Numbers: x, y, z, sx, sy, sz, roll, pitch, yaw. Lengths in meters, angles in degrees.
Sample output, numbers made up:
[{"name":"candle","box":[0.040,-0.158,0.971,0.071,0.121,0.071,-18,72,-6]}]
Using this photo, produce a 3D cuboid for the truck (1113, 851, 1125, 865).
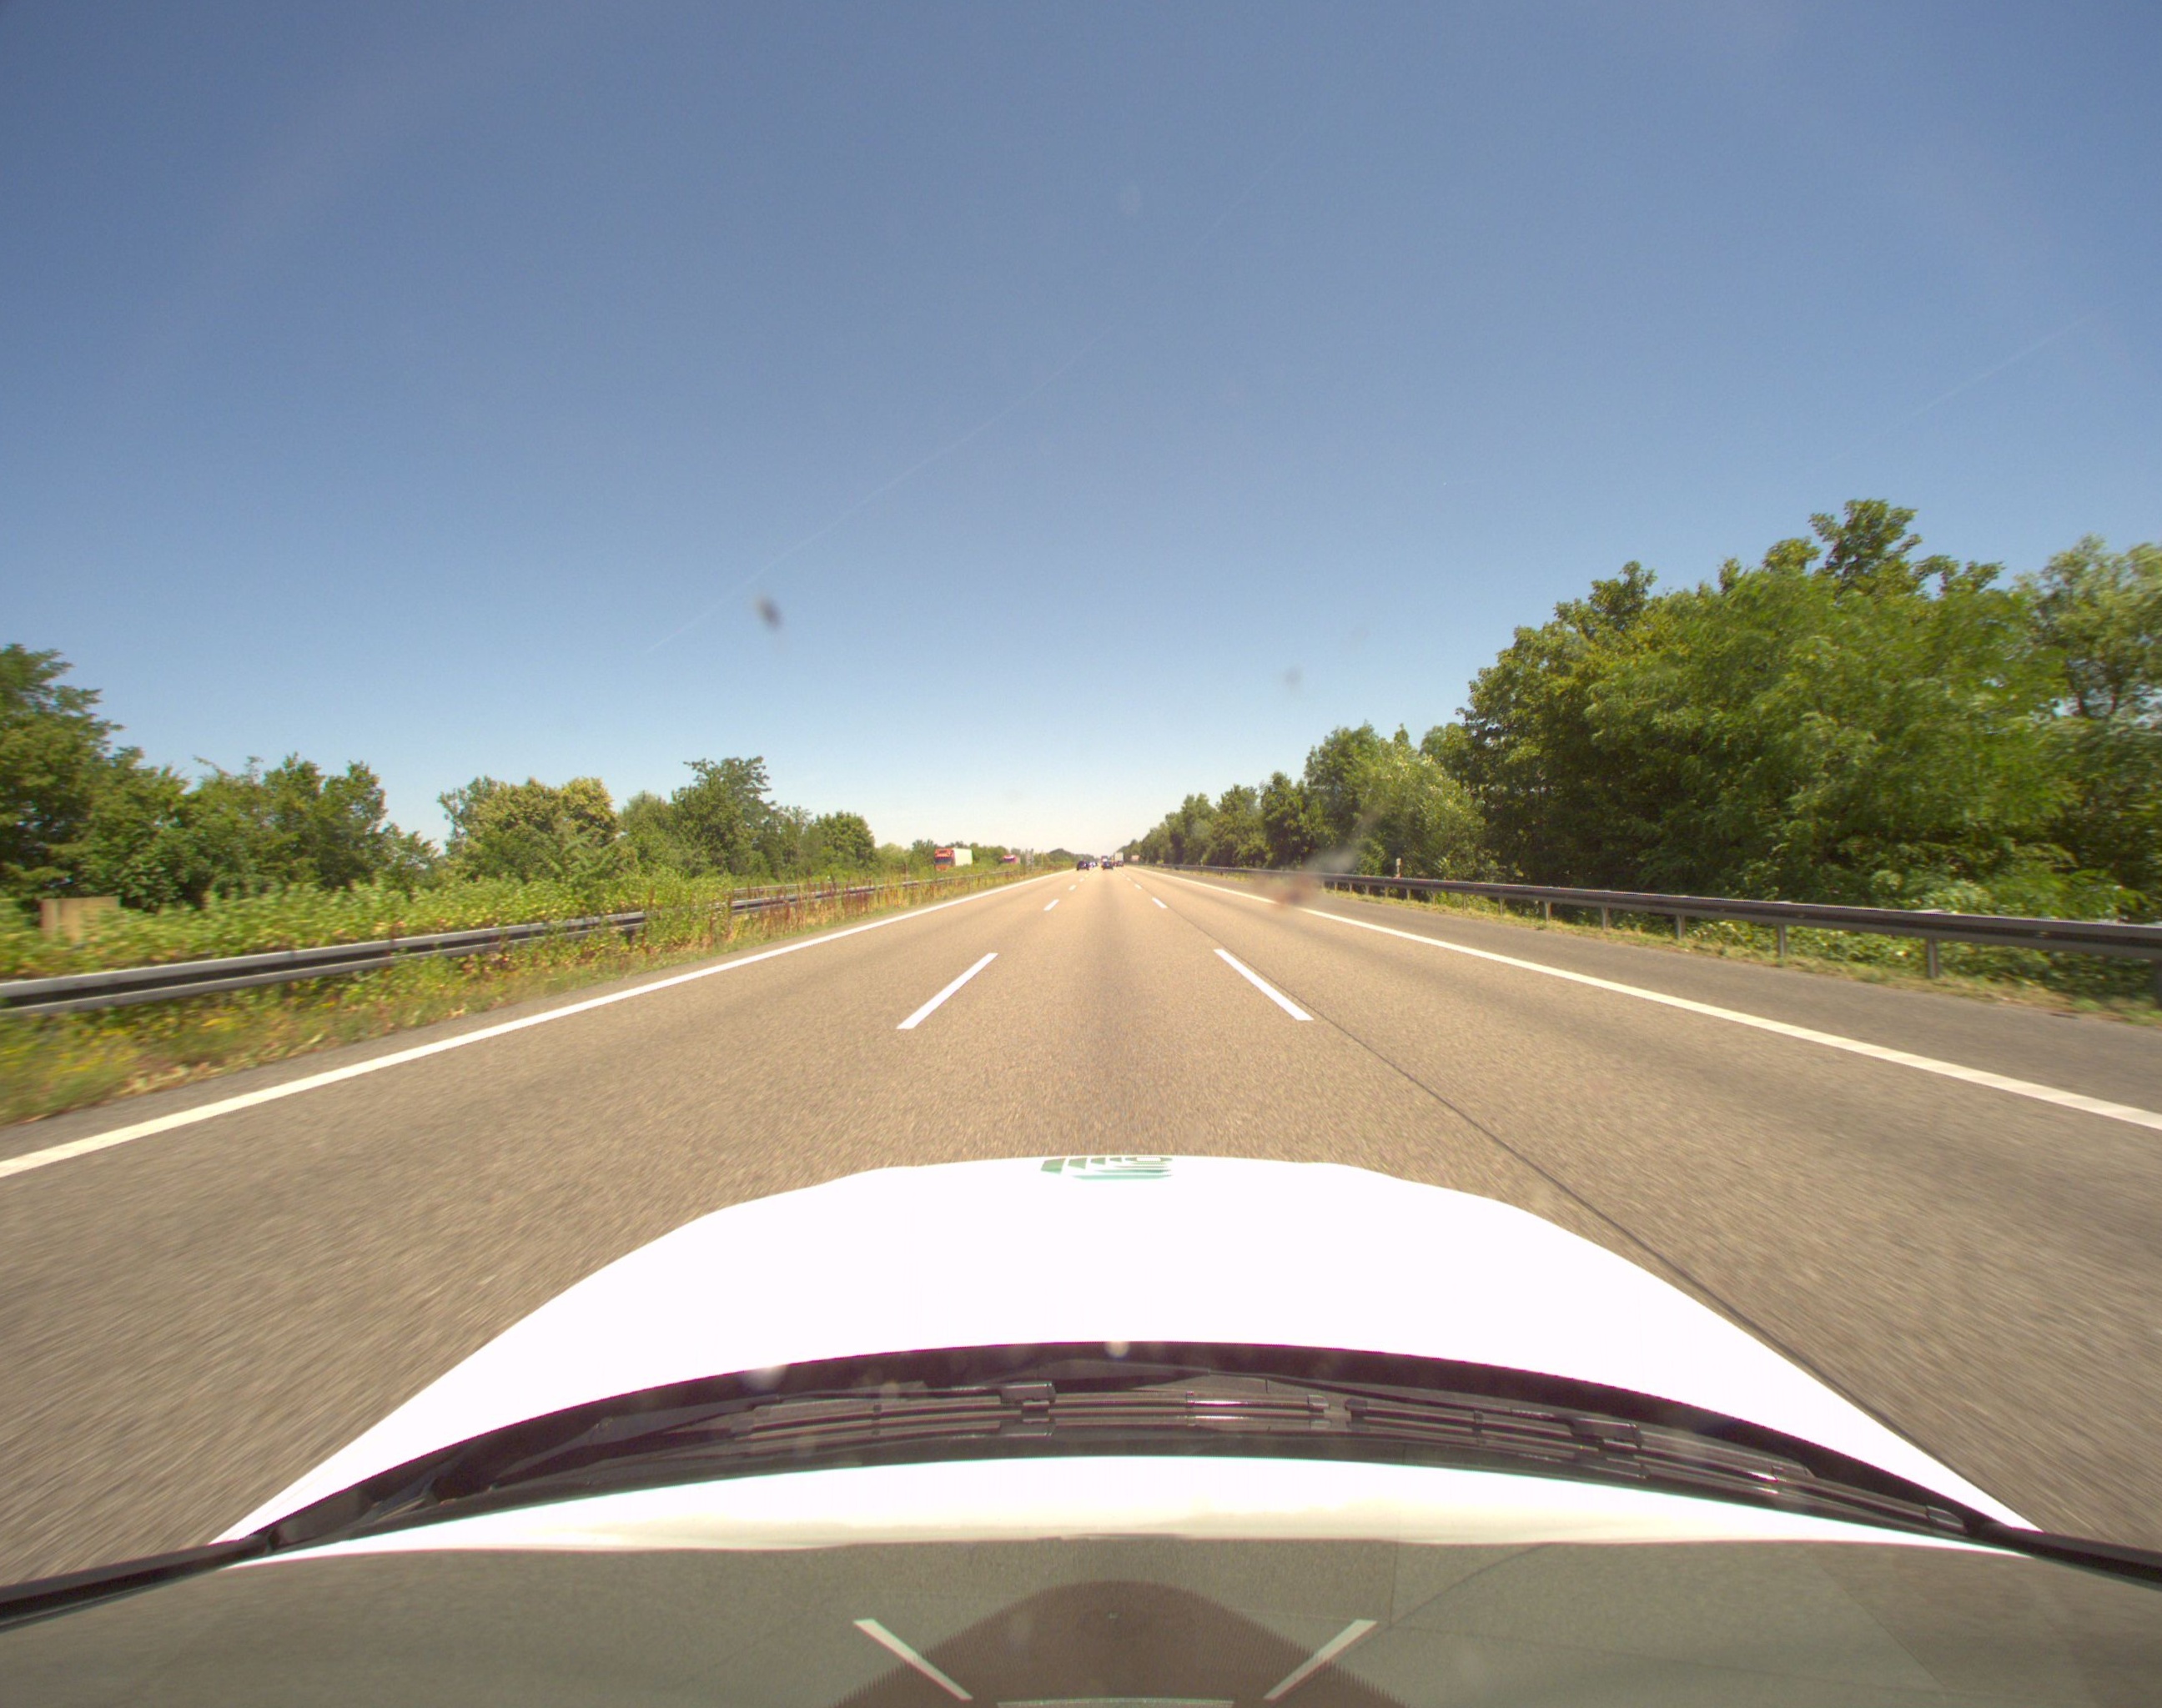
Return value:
[{"name":"truck","box":[11.005,1.190,238.071,3.372,3.970,9.542,-3,-1,2]}]

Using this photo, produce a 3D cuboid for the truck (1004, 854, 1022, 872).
[{"name":"truck","box":[-15.194,2.066,182.138,3.067,3.869,5.594,-3,-1,2]}]

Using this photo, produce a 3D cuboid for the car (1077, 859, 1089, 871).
[{"name":"car","box":[0.336,1.706,131.183,1.874,1.792,4.000,-2,1,0]}]

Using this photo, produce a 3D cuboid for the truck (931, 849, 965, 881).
[{"name":"truck","box":[-17.726,1.469,108.886,2.722,3.935,7.419,-4,-1,2]}]

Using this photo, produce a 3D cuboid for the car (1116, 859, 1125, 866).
[{"name":"car","box":[10.061,2.217,206.628,2.120,1.584,4.306,-3,-1,2]}]

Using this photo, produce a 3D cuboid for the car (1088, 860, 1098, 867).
[{"name":"car","box":[2.910,2.286,197.708,2.120,1.645,4.306,-3,-1,2]}]

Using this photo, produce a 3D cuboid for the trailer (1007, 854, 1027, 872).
[{"name":"trailer","box":[-14.859,2.109,189.630,3.066,3.869,10.912,-3,-1,2]}]

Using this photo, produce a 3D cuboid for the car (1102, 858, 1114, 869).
[{"name":"car","box":[4.369,1.559,132.202,1.896,1.584,4.306,-3,-1,2]}]
